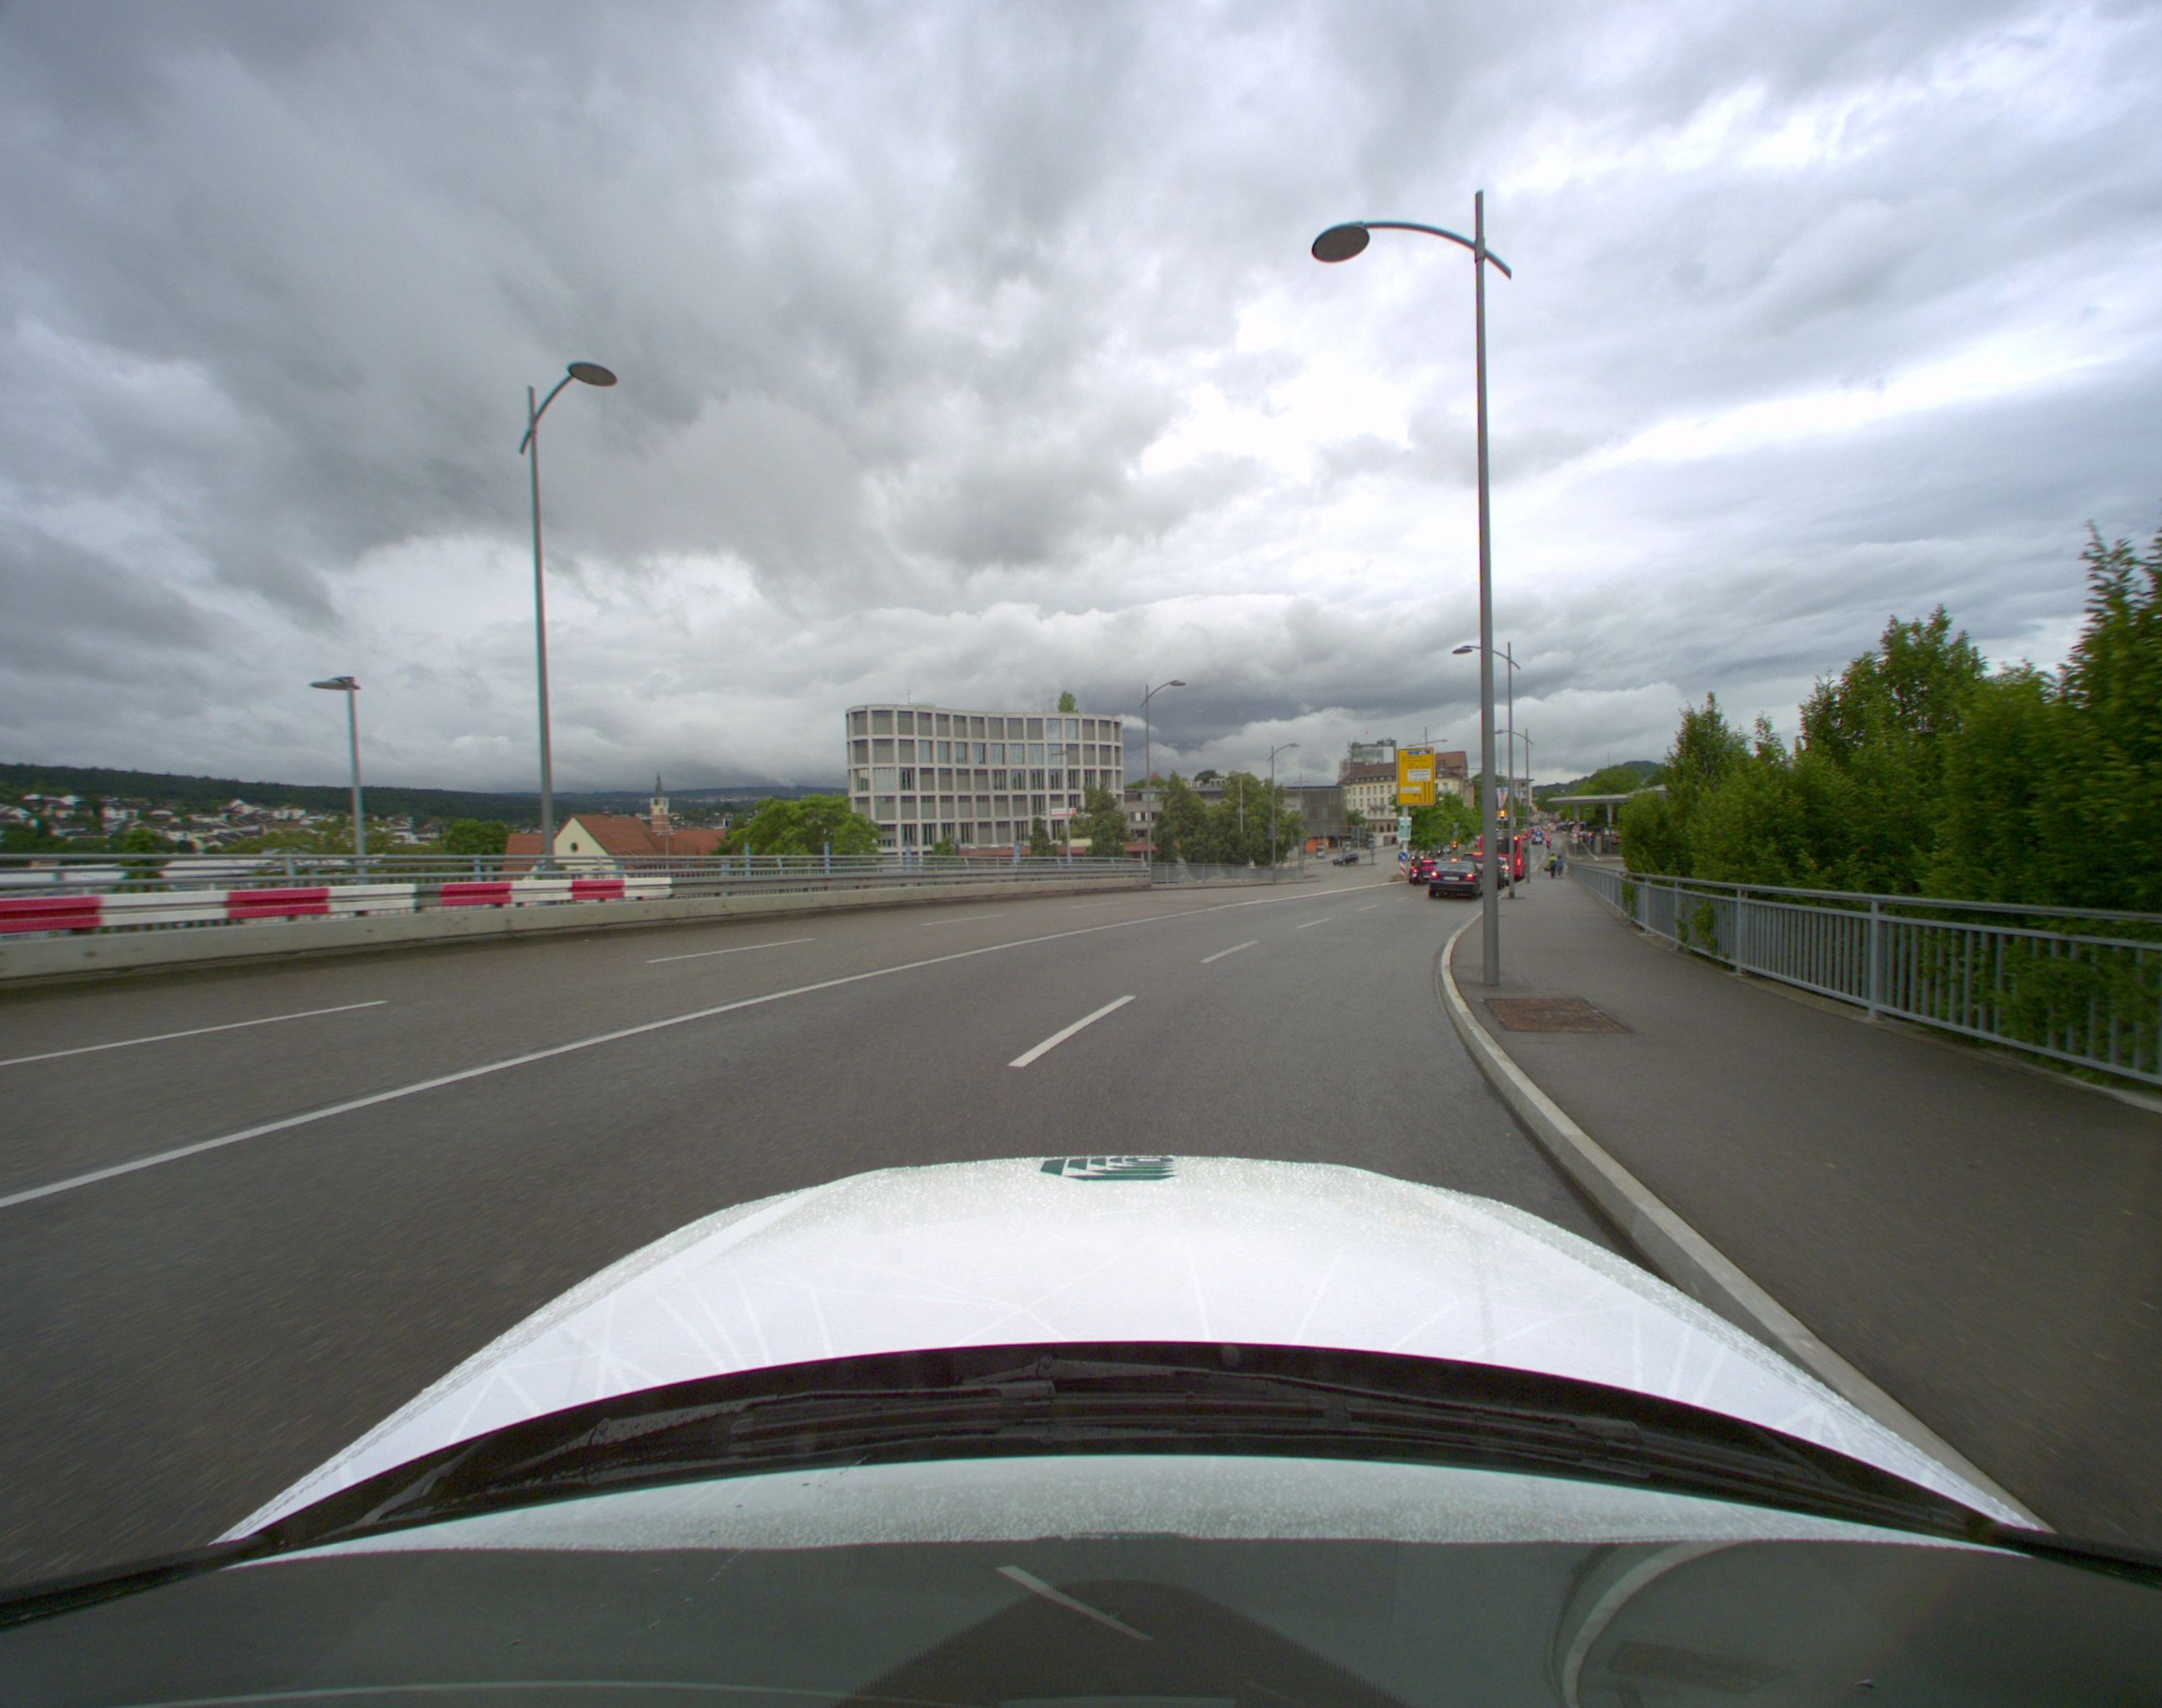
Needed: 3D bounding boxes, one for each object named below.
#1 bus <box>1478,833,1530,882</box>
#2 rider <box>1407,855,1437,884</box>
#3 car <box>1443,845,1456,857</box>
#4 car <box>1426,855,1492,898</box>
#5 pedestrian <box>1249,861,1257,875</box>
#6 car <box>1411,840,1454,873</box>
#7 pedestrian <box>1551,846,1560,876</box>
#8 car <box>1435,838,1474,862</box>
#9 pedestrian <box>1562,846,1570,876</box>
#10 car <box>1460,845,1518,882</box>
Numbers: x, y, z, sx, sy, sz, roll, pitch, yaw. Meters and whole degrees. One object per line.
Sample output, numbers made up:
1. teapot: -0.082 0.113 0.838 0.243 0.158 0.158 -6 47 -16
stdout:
1. bus: 30.633 0.219 58.765 2.800 3.189 10.373 1 1 30
2. rider: 17.849 0.797 42.605 0.872 1.471 2.210 2 1 36
3. car: 64.768 -0.586 143.283 1.976 2.014 4.225 0 -1 24
4. car: 14.332 0.803 30.805 1.689 1.419 3.749 2 1 33
5. pedestrian: 16.752 1.356 79.350 0.642 1.408 0.534 -1 1 33
6. car: 22.945 0.159 53.097 1.974 2.006 4.025 2 1 31
7. pedestrian: 32.415 0.471 55.642 0.485 2.014 0.472 -1 -2 33
8. car: 23.278 -0.255 50.691 1.743 1.436 4.025 2 1 31
9. pedestrian: 32.971 0.483 55.342 0.420 2.014 0.486 -1 -2 33
10. car: 20.147 0.447 40.110 1.809 1.687 4.025 2 1 37
